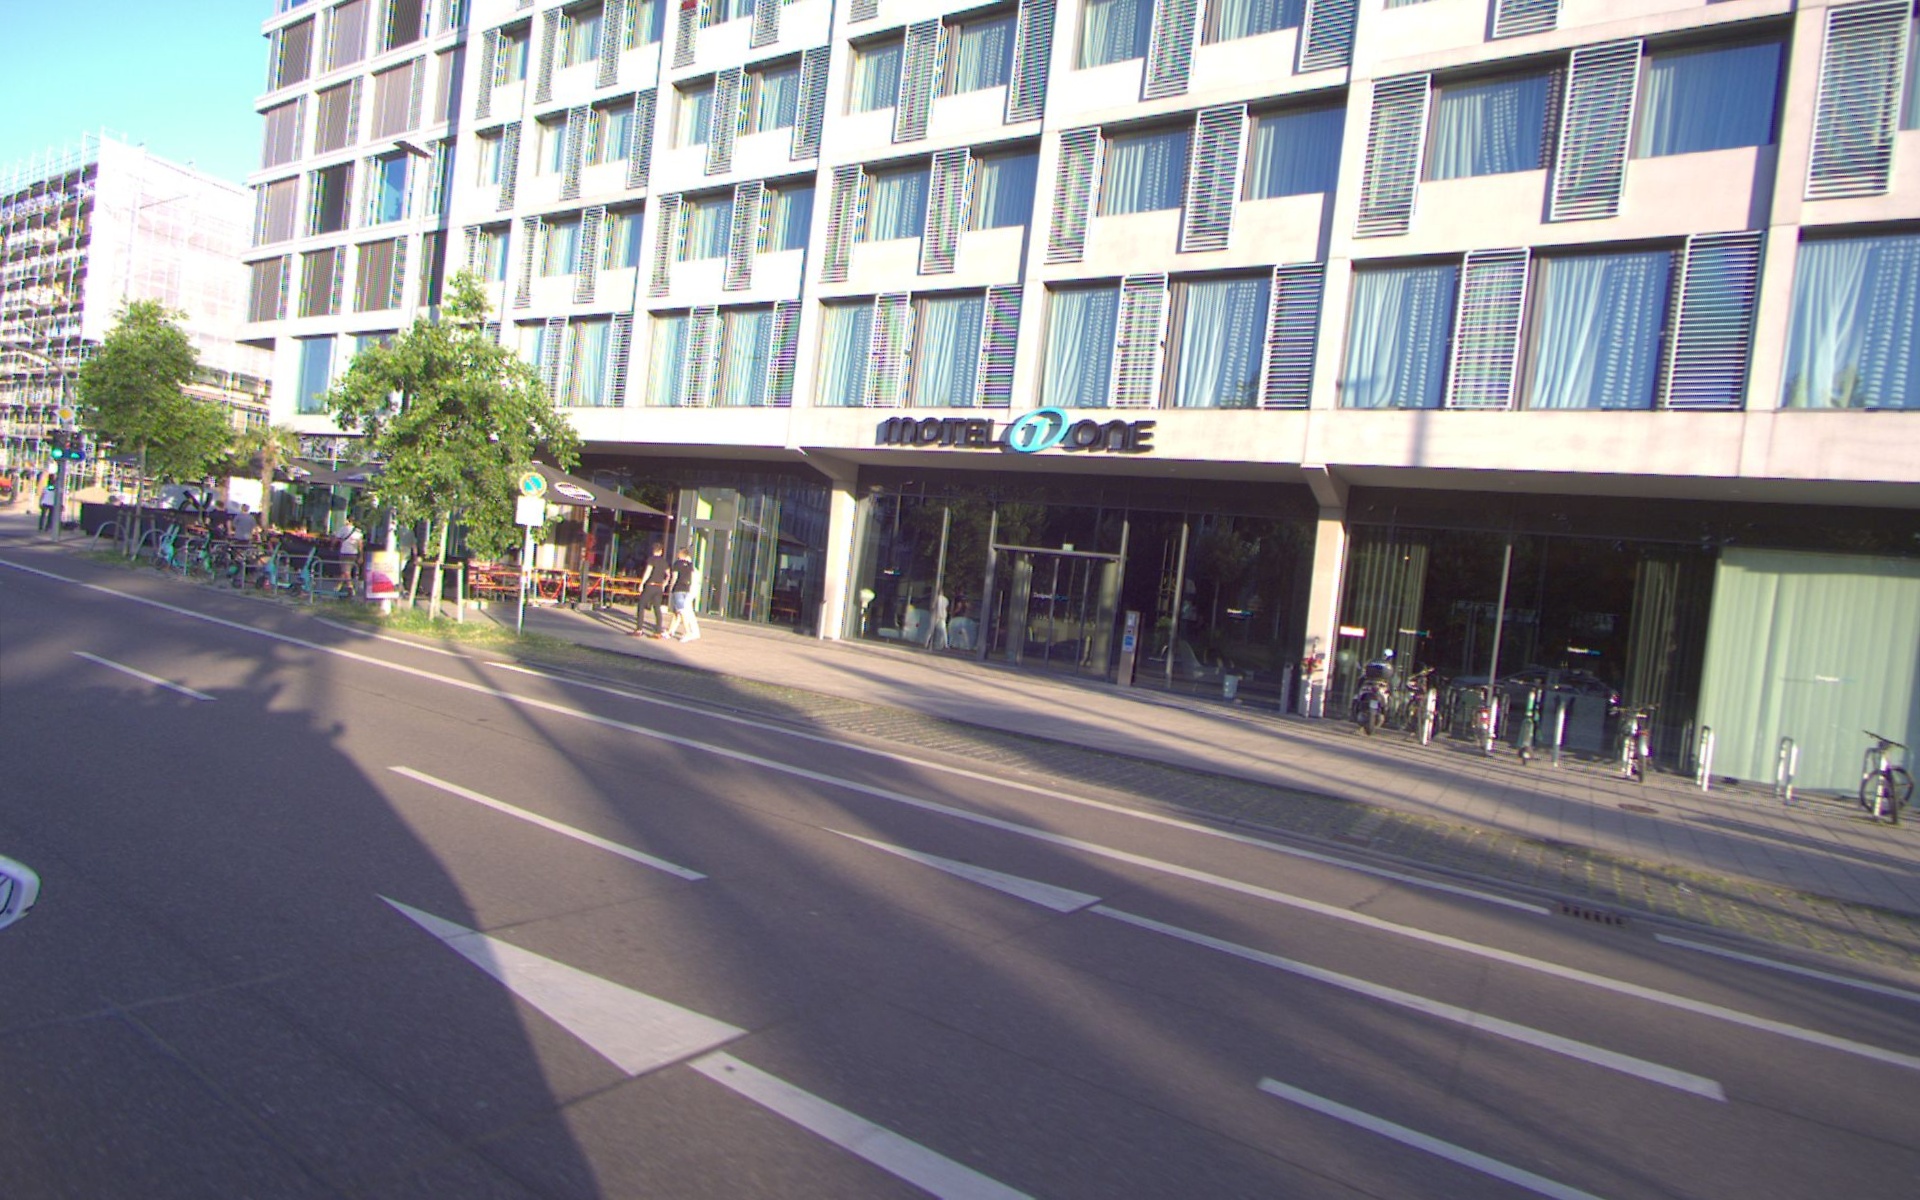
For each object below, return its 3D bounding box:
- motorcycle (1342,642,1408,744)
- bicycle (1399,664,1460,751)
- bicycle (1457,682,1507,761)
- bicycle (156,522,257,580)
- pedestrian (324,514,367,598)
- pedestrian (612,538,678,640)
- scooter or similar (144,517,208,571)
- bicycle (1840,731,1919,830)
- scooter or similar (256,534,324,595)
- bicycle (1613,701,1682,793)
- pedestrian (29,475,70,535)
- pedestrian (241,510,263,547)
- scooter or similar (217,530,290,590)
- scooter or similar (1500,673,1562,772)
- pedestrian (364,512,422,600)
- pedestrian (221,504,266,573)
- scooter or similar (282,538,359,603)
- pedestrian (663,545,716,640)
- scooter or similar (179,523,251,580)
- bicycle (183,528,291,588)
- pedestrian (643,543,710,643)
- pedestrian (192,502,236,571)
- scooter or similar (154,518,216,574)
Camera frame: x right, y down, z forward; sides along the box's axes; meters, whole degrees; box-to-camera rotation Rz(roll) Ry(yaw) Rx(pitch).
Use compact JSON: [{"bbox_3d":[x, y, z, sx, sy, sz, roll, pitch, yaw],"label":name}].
[{"bbox_3d":[6.722,1.463,16.389,0.659,1.405,2.117,8,2,18],"label":"motorcycle"},{"bbox_3d":[7.442,1.674,16.009,0.600,1.170,1.610,7,3,19],"label":"bicycle"},{"bbox_3d":[8.002,1.826,15.394,0.541,0.999,1.701,8,2,28],"label":"bicycle"},{"bbox_3d":[-17.724,-1.133,23.697,0.558,1.210,1.795,7,3,27],"label":"bicycle"},{"bbox_3d":[-13.794,-0.995,22.569,0.574,1.810,0.818,3,3,-45],"label":"pedestrian"},{"bbox_3d":[-6.045,-0.209,19.302,0.927,1.874,0.741,8,4,41],"label":"pedestrian"},{"bbox_3d":[-19.524,-1.385,25.063,0.588,1.240,1.052,7,3,28],"label":"scooter or similar"},{"bbox_3d":[11.995,2.303,12.939,0.541,0.999,1.701,8,3,28],"label":"bicycle"},{"bbox_3d":[-14.536,-0.764,21.824,1.123,1.230,0.525,3,2,-43],"label":"scooter or similar"},{"bbox_3d":[9.734,2.043,14.291,0.556,1.023,1.886,7,3,30],"label":"bicycle"},{"bbox_3d":[-30.558,-3.176,33.770,0.667,1.872,0.769,8,2,32],"label":"pedestrian"},{"bbox_3d":[-27.437,-2.768,38.971,0.609,1.337,0.613,2,5,-40],"label":"pedestrian"},{"bbox_3d":[-15.385,-0.851,21.911,0.501,1.207,1.155,6,2,33],"label":"scooter or similar"},{"bbox_3d":[8.328,1.762,14.706,0.598,1.250,1.269,8,3,28],"label":"scooter or similar"},{"bbox_3d":[-12.984,-1.014,23.041,0.854,1.913,0.822,6,3,40],"label":"pedestrian"},{"bbox_3d":[-19.316,-1.660,27.114,0.748,1.758,0.685,8,4,32],"label":"pedestrian"},{"bbox_3d":[-13.297,-0.607,20.930,1.283,1.235,0.530,4,3,-35],"label":"scooter or similar"},{"bbox_3d":[-5.474,-0.156,20.371,0.766,1.837,0.617,8,5,41],"label":"pedestrian"},{"bbox_3d":[-17.302,-1.110,23.384,0.472,1.218,1.210,7,3,27],"label":"scooter or similar"},{"bbox_3d":[-16.297,-0.934,22.711,0.598,1.198,1.847,8,3,31],"label":"bicycle"},{"bbox_3d":[-5.569,-0.144,19.776,0.927,1.849,0.754,8,4,41],"label":"pedestrian"},{"bbox_3d":[-19.662,-1.675,26.515,0.677,1.725,0.653,8,3,31],"label":"pedestrian"},{"bbox_3d":[-18.675,-1.299,24.234,0.542,1.240,1.058,8,4,41],"label":"scooter or similar"}]
